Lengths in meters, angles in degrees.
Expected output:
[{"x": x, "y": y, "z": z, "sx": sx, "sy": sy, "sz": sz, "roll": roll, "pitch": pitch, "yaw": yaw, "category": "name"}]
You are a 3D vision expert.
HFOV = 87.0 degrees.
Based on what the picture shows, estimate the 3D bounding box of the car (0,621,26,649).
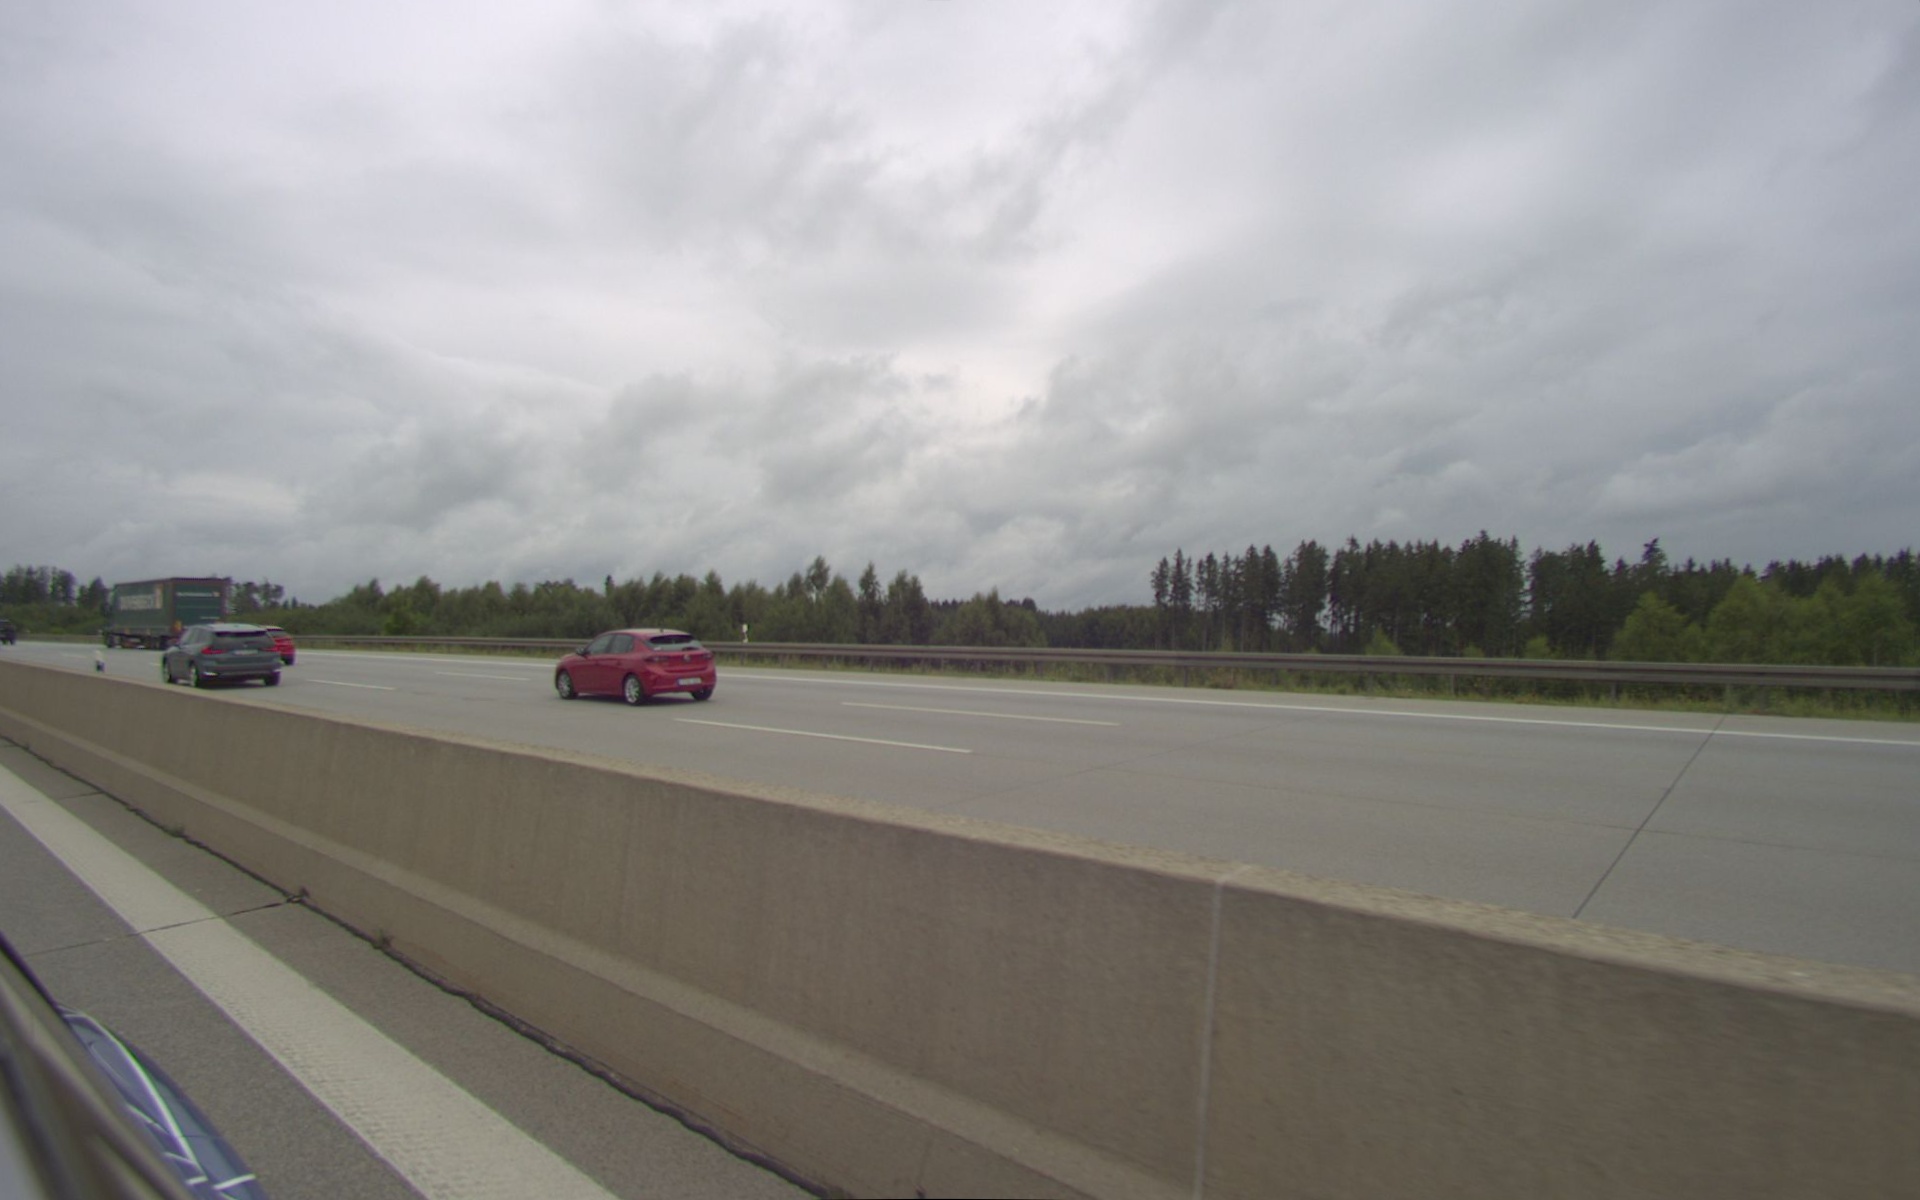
[{"x": -72.114, "y": 2.641, "z": 76.110, "sx": 5.326, "sy": 1.989, "sz": 1.973, "roll": -3, "pitch": -5, "yaw": 40, "category": "car"}]

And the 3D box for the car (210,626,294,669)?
[{"x": -26.760, "y": 1.737, "z": 38.184, "sx": 4.483, "sy": 1.519, "sz": 1.503, "roll": -1, "pitch": -2, "yaw": 40, "category": "car"}]

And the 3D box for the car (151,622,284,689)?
[{"x": -19.511, "y": 1.449, "z": 26.515, "sx": 4.967, "sy": 1.600, "sz": 1.704, "roll": -3, "pitch": -3, "yaw": 40, "category": "car"}]

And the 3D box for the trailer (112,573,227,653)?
[{"x": -47.209, "y": 0.920, "z": 60.225, "sx": 12.154, "sy": 4.314, "sz": 2.738, "roll": -3, "pitch": -1, "yaw": 39, "category": "trailer"}]

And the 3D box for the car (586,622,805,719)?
[{"x": -5.035, "y": 1.220, "z": 18.955, "sx": 4.484, "sy": 1.519, "sz": 1.700, "roll": 0, "pitch": -1, "yaw": 40, "category": "car"}]

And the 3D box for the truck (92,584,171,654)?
[{"x": -53.647, "y": 1.232, "z": 65.468, "sx": 6.042, "sy": 4.295, "sz": 2.762, "roll": -3, "pitch": -1, "yaw": 39, "category": "truck"}]
